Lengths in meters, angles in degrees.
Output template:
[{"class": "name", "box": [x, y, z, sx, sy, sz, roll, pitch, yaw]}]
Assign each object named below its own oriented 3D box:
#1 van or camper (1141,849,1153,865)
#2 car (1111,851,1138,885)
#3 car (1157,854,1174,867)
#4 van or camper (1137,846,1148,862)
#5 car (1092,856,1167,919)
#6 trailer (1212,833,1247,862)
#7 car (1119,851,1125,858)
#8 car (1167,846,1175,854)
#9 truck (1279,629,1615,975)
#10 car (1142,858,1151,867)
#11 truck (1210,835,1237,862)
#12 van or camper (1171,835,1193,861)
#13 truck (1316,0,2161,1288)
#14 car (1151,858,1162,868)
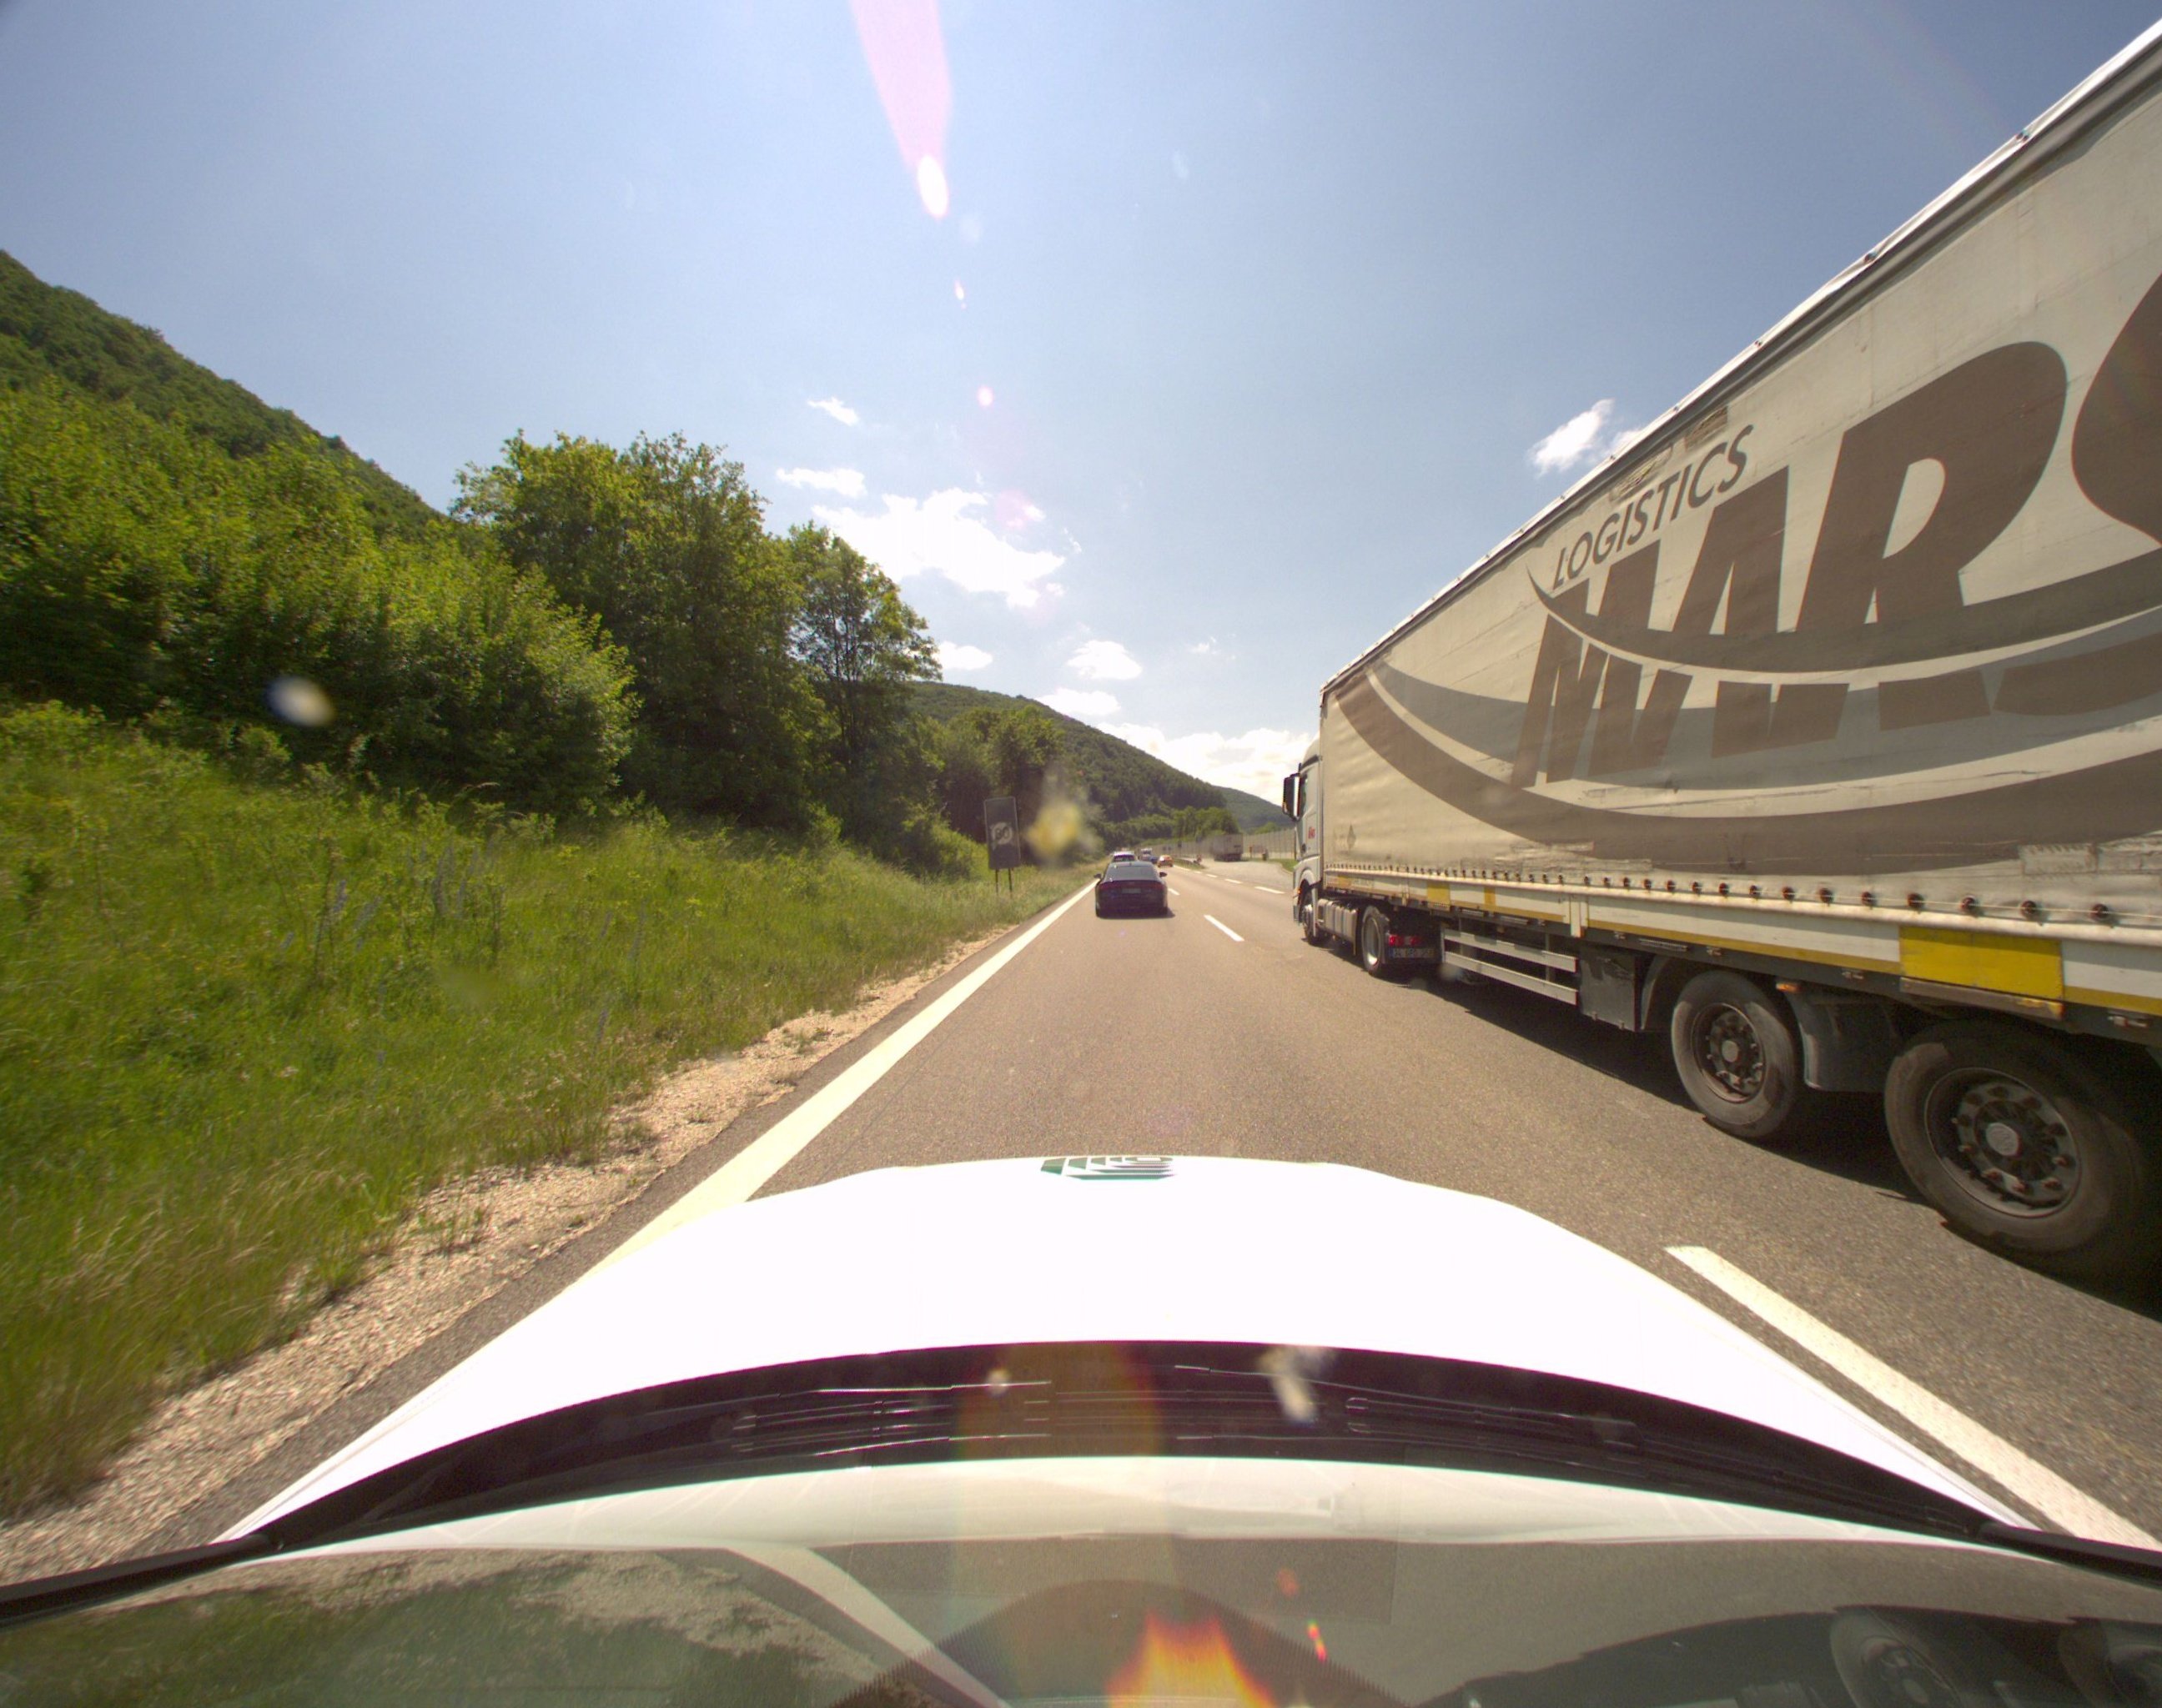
[{"class": "van or camper", "box": [13.718, 0.597, 168.857, 2.419, 3.155, 5.207, 0, -1, 3]}, {"class": "car", "box": [2.598, 0.836, 49.147, 1.515, 1.968, 3.516, 1, -1, 3]}, {"class": "car", "box": [10.642, 0.794, 102.533, 1.871, 1.499, 4.004, -1, -1, 3]}, {"class": "van or camper", "box": [16.443, 0.016, 217.720, 2.784, 3.907, 6.168, 0, -1, 1]}, {"class": "car", "box": [1.300, 0.843, 22.034, 1.804, 1.514, 3.517, -2, -1, 3]}, {"class": "trailer", "box": [21.241, -0.820, 117.105, 3.397, 3.900, 11.159, -1, 0, 3]}, {"class": "car", "box": [11.877, 0.285, 238.372, 1.681, 2.014, 4.003, -1, 0, 3]}, {"class": "car", "box": [22.778, -0.987, 206.207, 1.569, 2.014, 3.431, -2, -1, 3]}, {"class": "truck", "box": [5.007, -0.563, 12.500, 2.708, 4.068, 5.757, -1, -1, 2]}, {"class": "car", "box": [11.036, 1.486, 137.692, 1.523, 1.525, 3.600, 0, -1, 3]}, {"class": "truck", "box": [21.552, -0.809, 123.299, 3.398, 3.900, 5.391, -1, 0, 3]}, {"class": "van or camper", "box": [15.740, -0.859, 126.778, 2.784, 3.842, 6.168, 0, -1, 1]}, {"class": "truck", "box": [4.697, -0.697, 5.620, 2.715, 4.068, 13.748, -1, -1, 3]}, {"class": "car", "box": [10.930, 1.330, 118.111, 1.523, 1.525, 3.600, 0, -1, 3]}]
